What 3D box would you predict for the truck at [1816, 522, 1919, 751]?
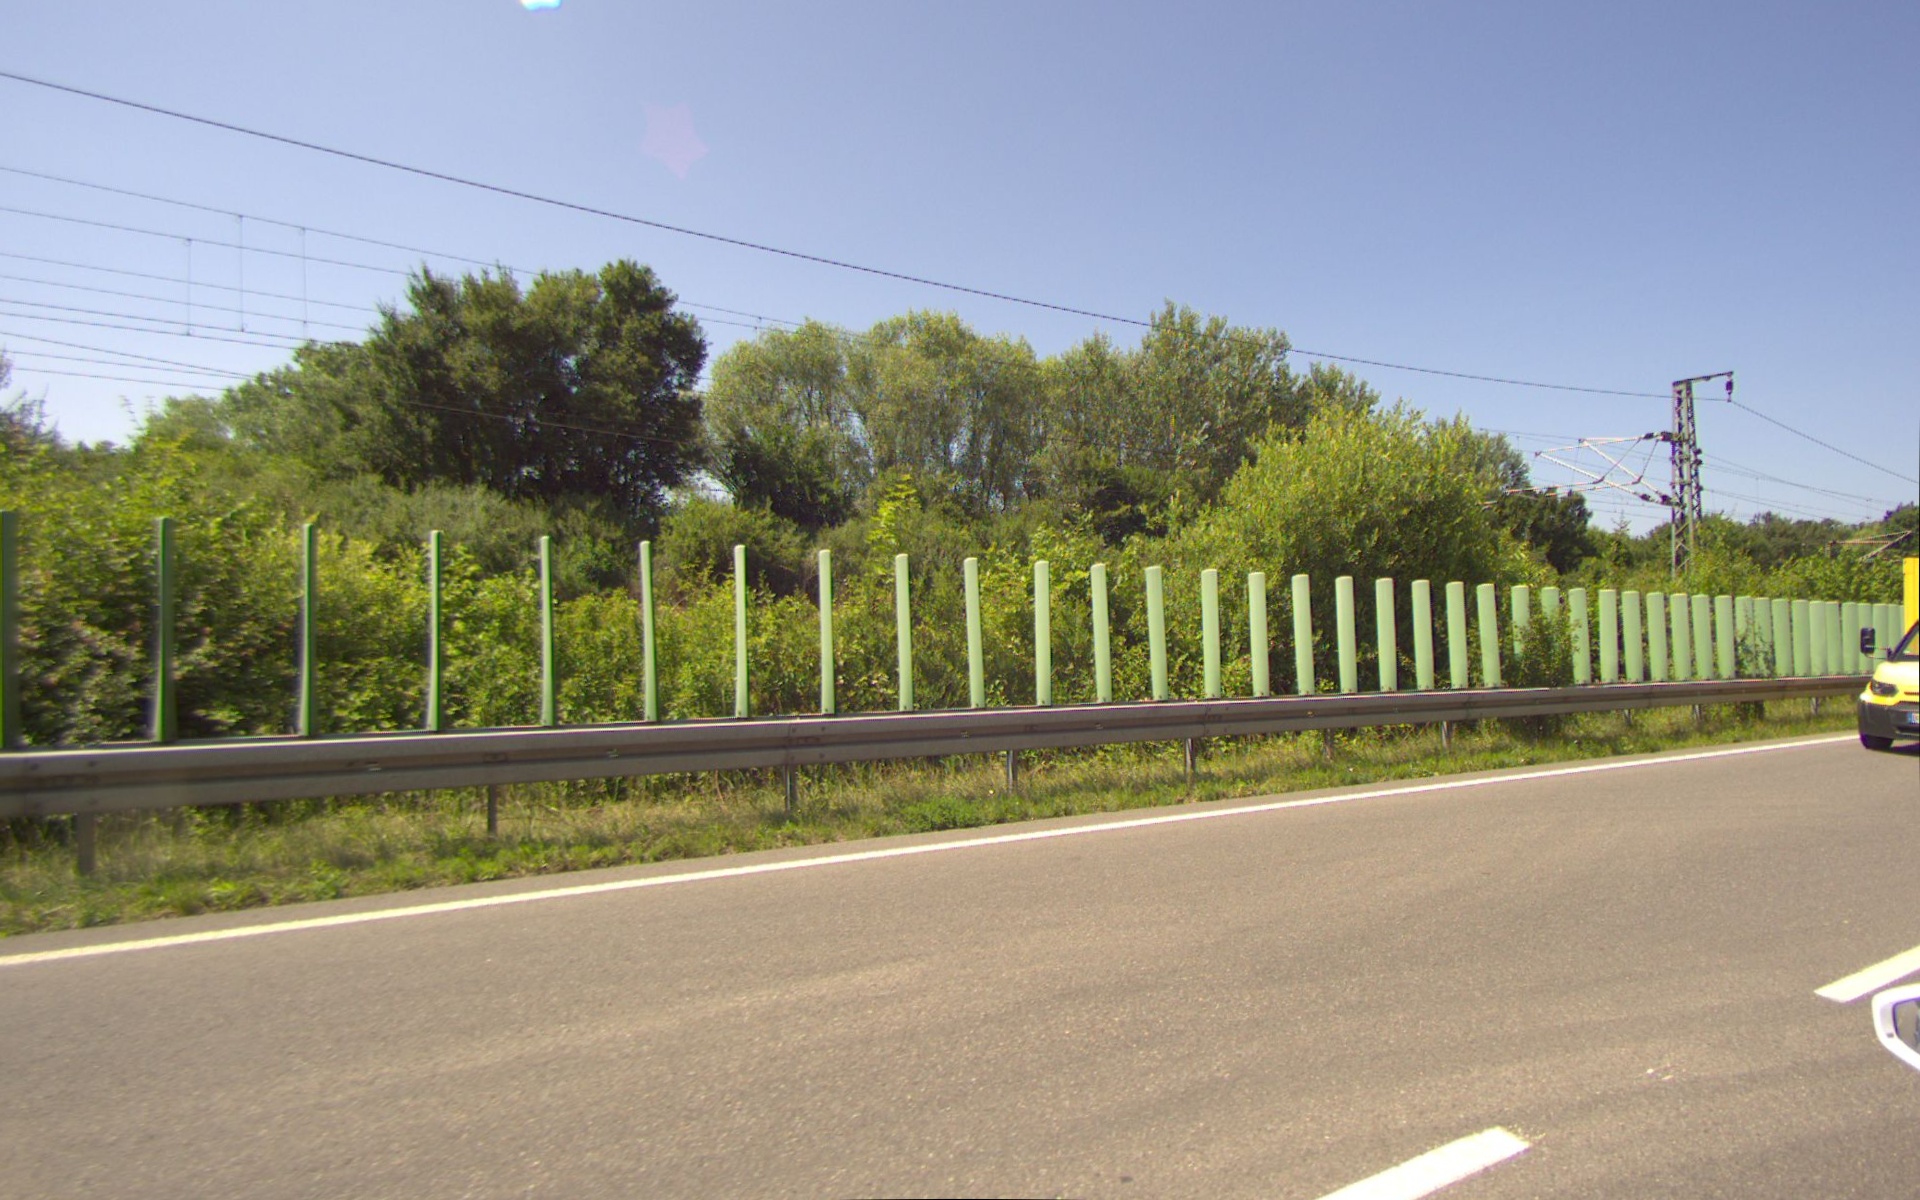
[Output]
[{"bbox_3d":[13.685,0.477,13.138,5.637,2.681,2.070,1,-1,-30],"label":"truck"}]
